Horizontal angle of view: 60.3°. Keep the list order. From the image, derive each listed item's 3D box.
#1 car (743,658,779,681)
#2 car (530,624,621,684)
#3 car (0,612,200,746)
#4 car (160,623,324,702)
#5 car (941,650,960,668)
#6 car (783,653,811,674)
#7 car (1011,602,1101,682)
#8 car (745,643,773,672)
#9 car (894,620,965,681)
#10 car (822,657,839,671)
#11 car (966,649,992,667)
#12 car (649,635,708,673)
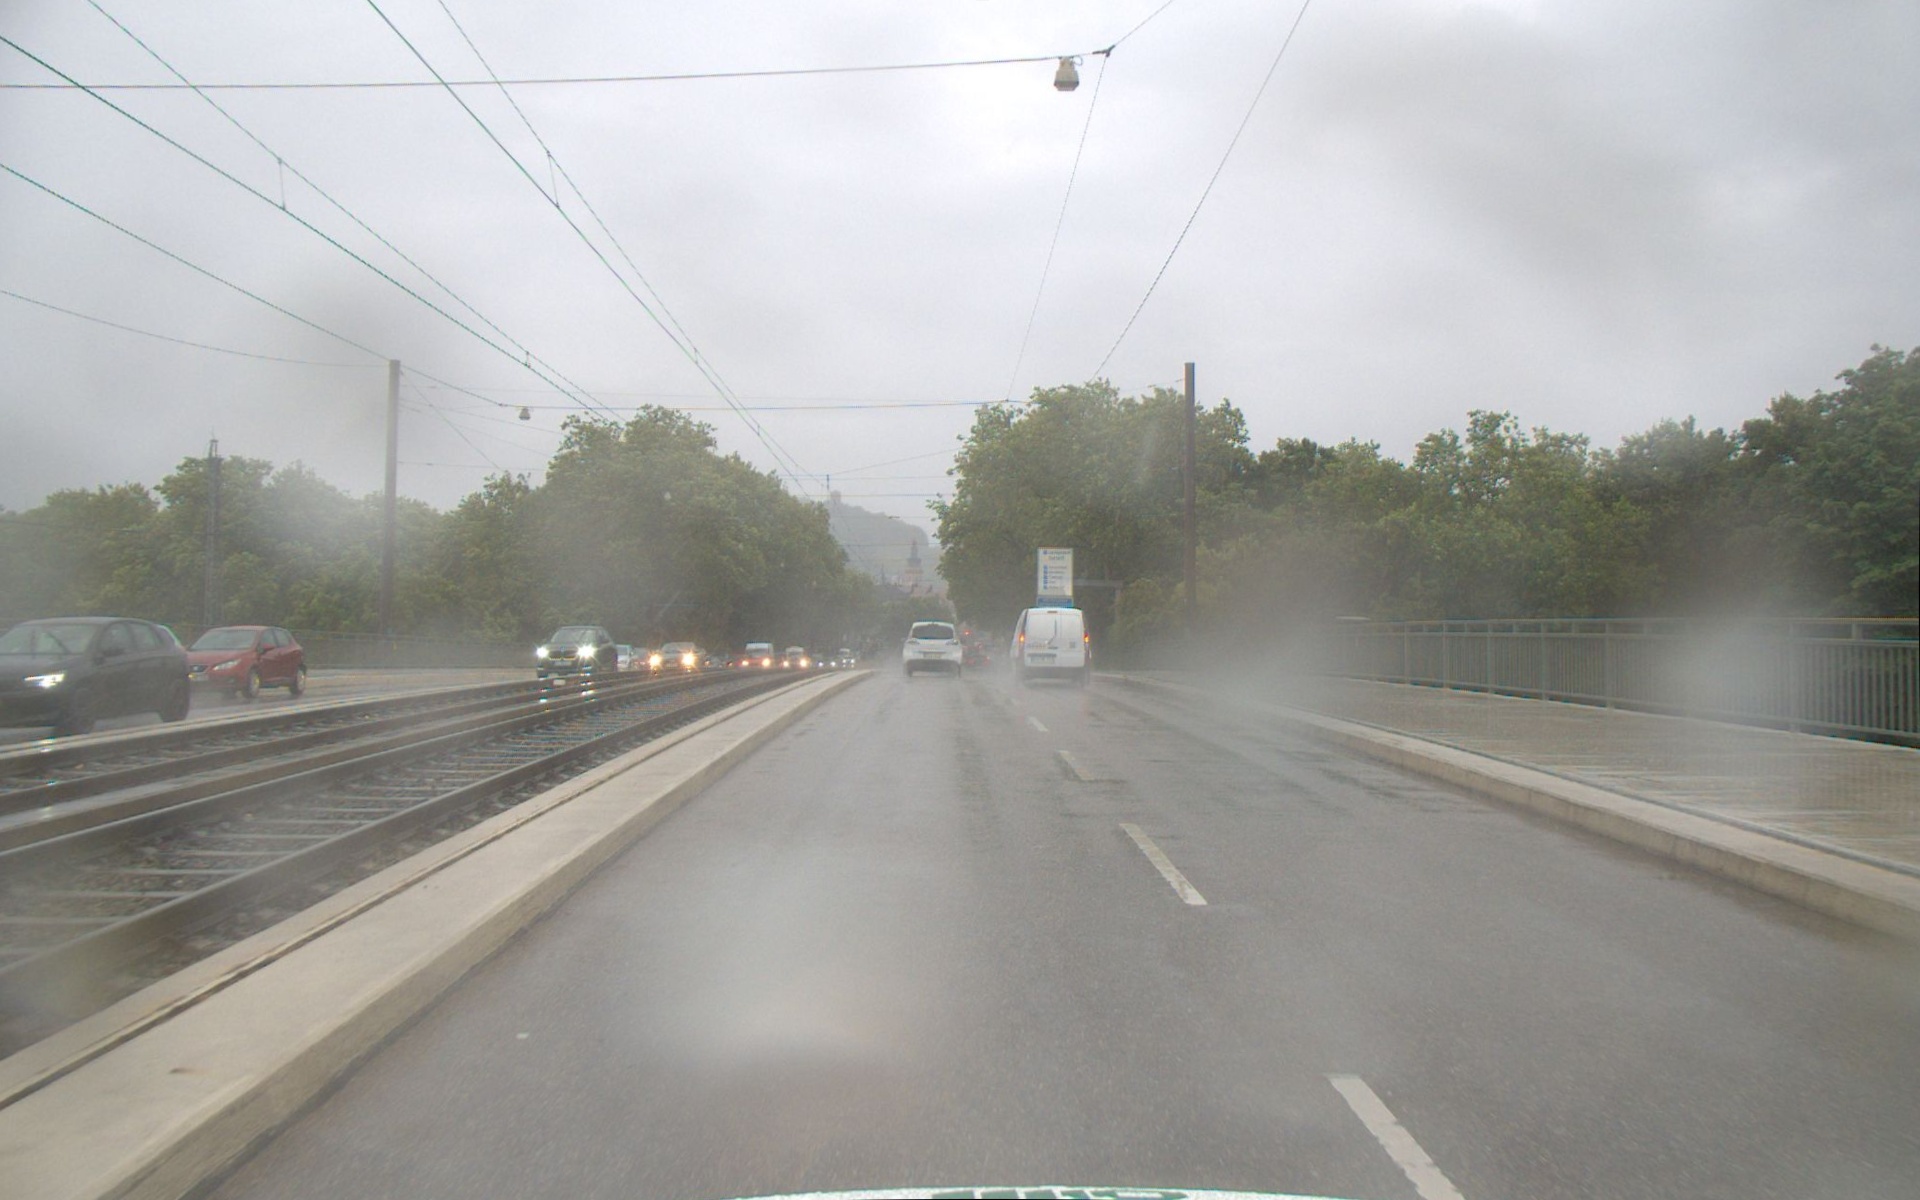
[{"bbox_3d":[-12.326,4.298,102.659,1.762,1.339,4.083,1,-1,0],"label":"car"},{"bbox_3d":[-11.663,1.626,50.407,1.781,1.683,3.999,1,-1,0],"label":"car"},{"bbox_3d":[-11.591,0.983,21.122,1.953,1.536,4.090,-2,-1,-2],"label":"car"},{"bbox_3d":[-14.718,1.257,34.156,1.587,1.481,4.320,-2,-1,-2],"label":"car"},{"bbox_3d":[-1.038,6.427,179.851,1.952,1.859,4.000,1,-1,1],"label":"car"},{"bbox_3d":[-12.958,5.021,131.532,1.779,1.392,4.265,1,2,0],"label":"car"},{"bbox_3d":[2.229,0.994,39.245,1.952,1.757,4.000,1,-1,1],"label":"car"},{"bbox_3d":[-16.113,4.621,132.674,1.706,2.207,5.811,-2,-1,-2],"label":"car"},{"bbox_3d":[-0.880,1.530,50.379,1.952,1.747,4.000,1,-1,1],"label":"car"},{"bbox_3d":[-14.505,7.167,185.033,1.475,1.425,4.706,-2,-1,0],"label":"car"},{"bbox_3d":[1.510,4.505,128.817,1.952,1.344,4.000,1,-1,1],"label":"car"},{"bbox_3d":[-11.784,2.245,69.366,1.762,1.508,4.083,1,-1,0],"label":"car"}]
